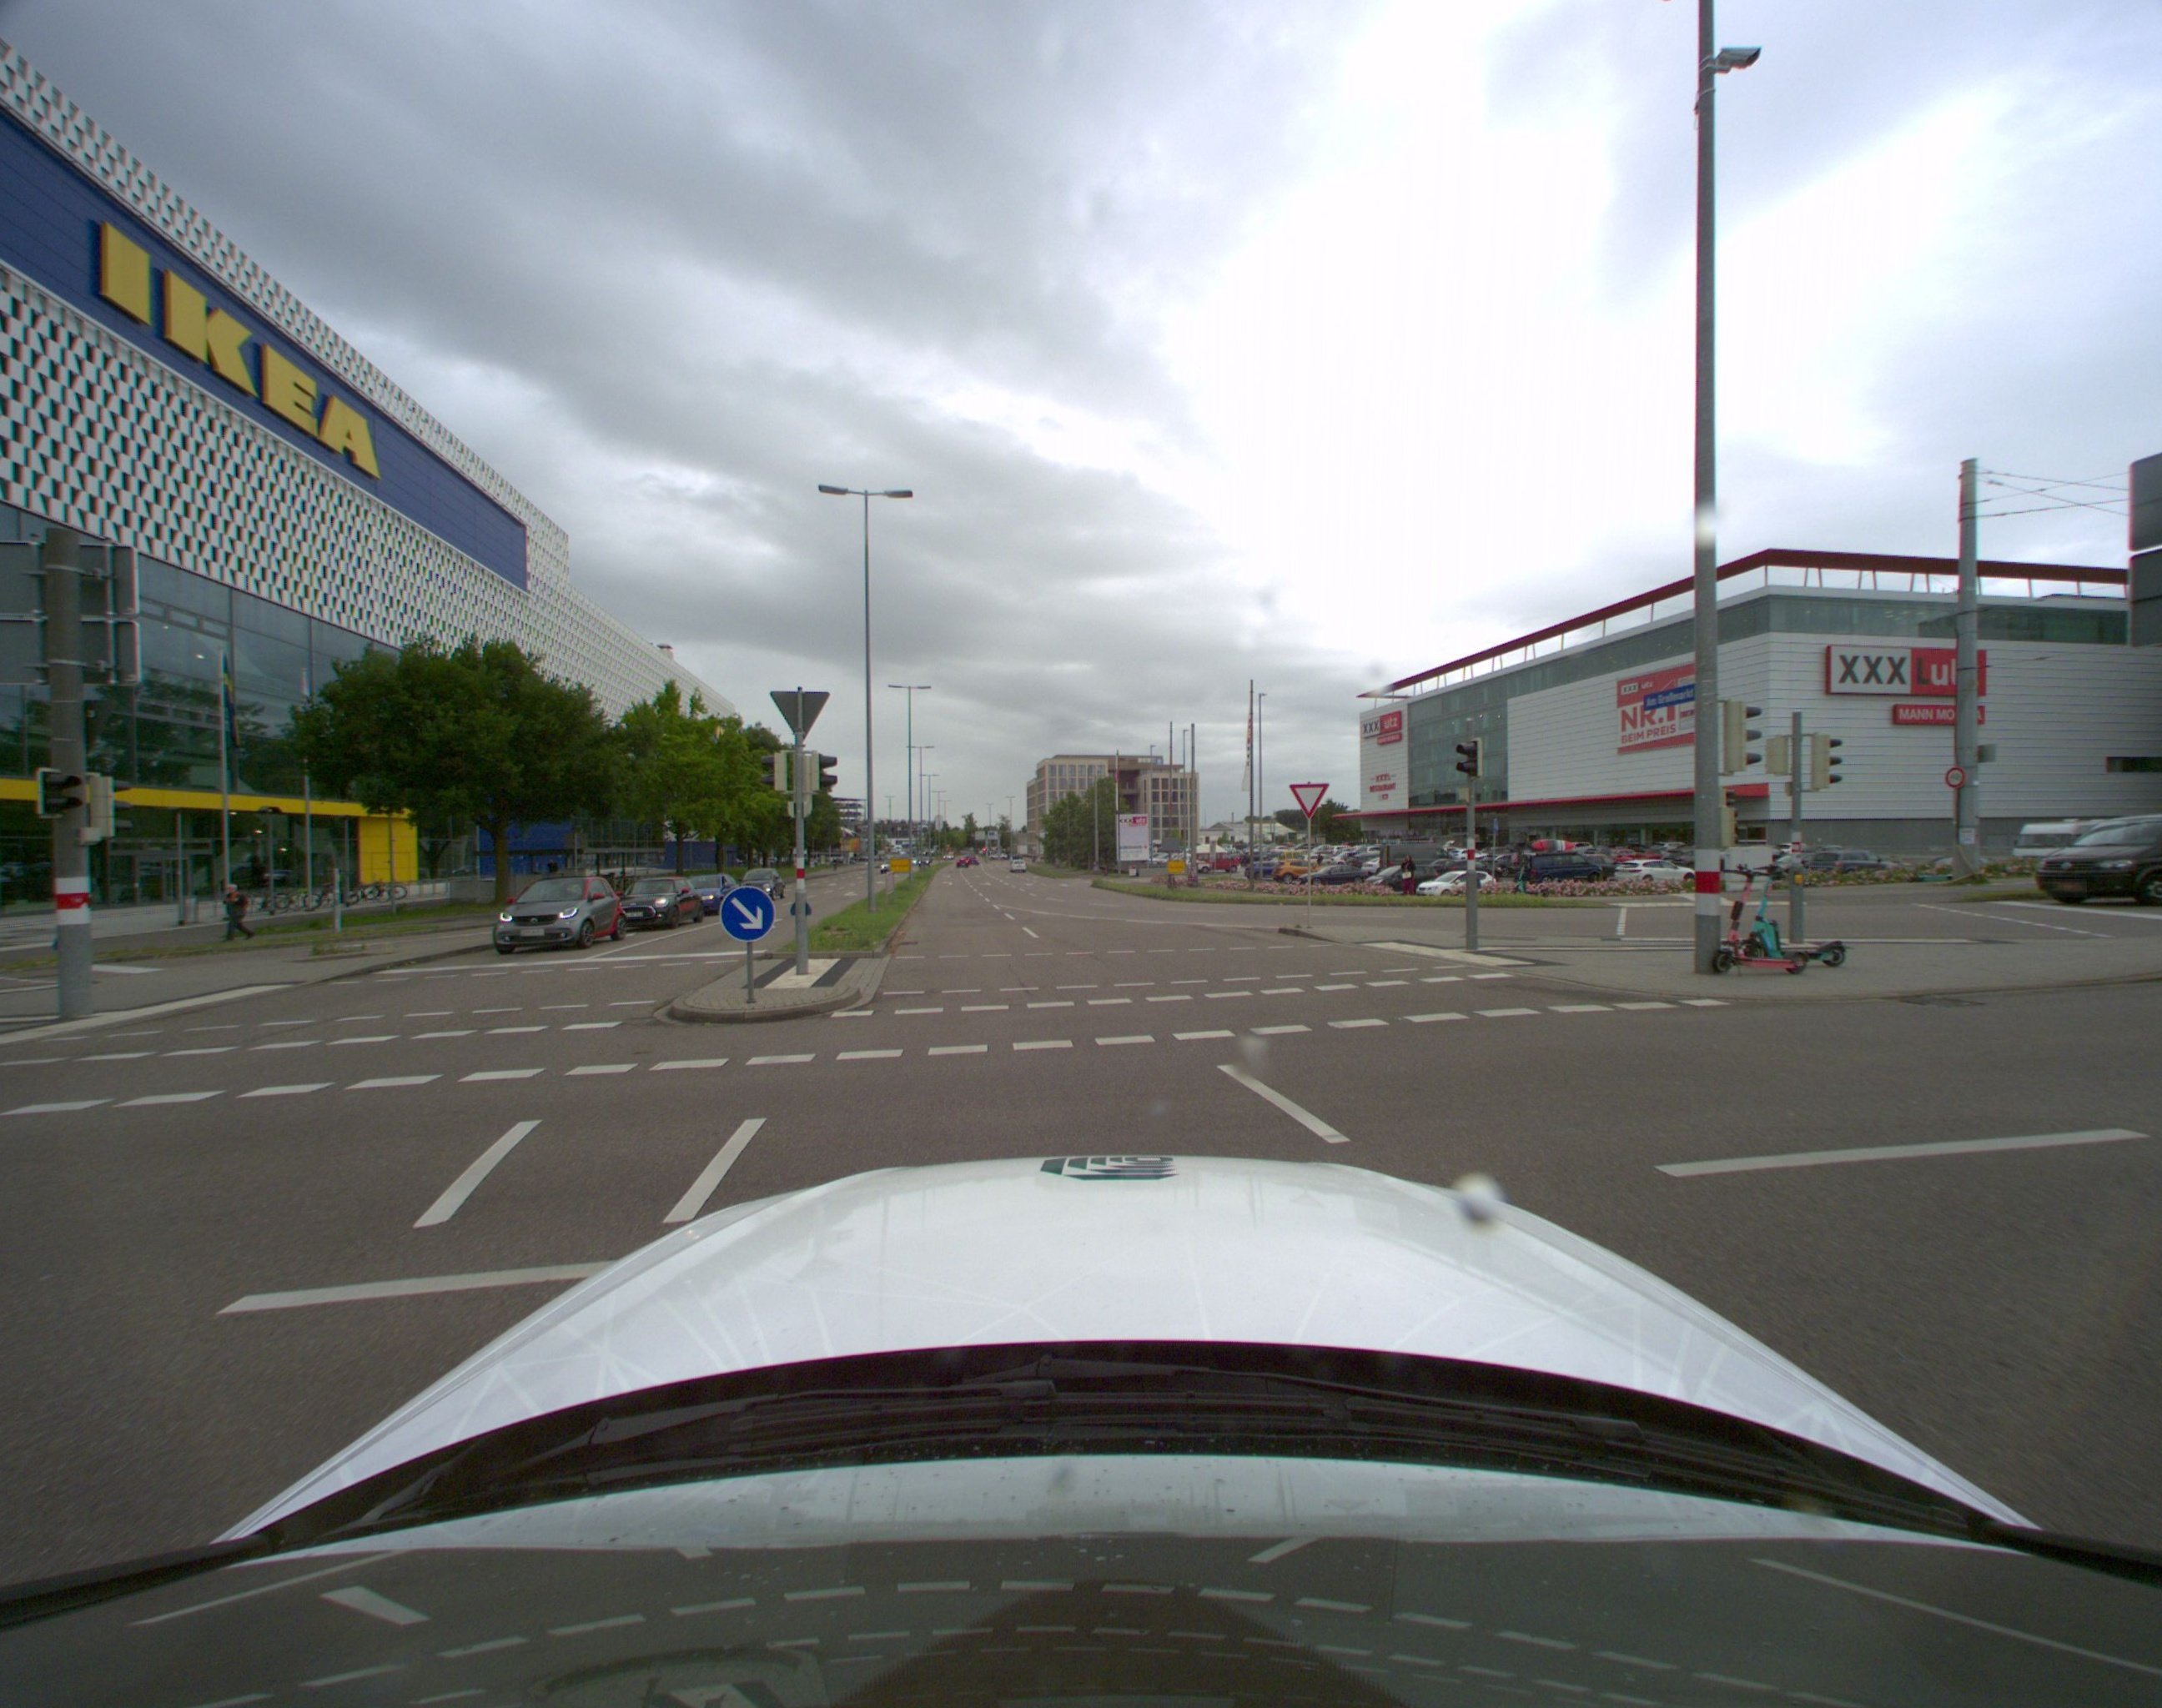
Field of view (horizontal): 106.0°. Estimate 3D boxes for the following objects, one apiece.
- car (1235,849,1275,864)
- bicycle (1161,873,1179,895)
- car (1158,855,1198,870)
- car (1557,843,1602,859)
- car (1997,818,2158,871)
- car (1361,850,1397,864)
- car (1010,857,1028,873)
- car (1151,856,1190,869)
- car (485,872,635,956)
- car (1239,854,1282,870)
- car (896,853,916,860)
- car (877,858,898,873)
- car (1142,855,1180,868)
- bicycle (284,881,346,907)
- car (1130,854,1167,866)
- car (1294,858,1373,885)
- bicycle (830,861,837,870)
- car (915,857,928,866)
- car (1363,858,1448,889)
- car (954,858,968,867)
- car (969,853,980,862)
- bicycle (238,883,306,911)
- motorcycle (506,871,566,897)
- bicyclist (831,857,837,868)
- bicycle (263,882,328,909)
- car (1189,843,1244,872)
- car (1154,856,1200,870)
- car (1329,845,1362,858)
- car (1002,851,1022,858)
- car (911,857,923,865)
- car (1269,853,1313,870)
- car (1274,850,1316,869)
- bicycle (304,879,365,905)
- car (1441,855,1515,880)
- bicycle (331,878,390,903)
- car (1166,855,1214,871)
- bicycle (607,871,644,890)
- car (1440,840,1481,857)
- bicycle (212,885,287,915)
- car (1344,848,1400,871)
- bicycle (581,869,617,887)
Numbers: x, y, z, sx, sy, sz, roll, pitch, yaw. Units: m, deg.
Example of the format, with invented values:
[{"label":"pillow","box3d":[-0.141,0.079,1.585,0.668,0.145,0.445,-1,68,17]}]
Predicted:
[{"label":"car","box3d":[19.978,0.237,93.394,4.167,1.663,1.829,0,0,-7]},{"label":"bicycle","box3d":[4.466,1.495,41.011,0.662,1.048,1.690,-1,0,-3]},{"label":"car","box3d":[10.544,0.940,89.000,4.051,1.540,1.759,-1,2,-8]},{"label":"car","box3d":[52.633,-0.350,86.001,3.793,1.553,1.825,-1,2,-10]},{"label":"car","box3d":[58.270,-0.627,47.693,6.925,2.989,2.762,-1,2,-9]},{"label":"car","box3d":[35.084,0.319,95.822,3.563,1.587,1.736,0,0,-5]},{"label":"car","box3d":[-7.597,1.357,100.085,1.992,1.751,4.171,0,2,-7]},{"label":"car","box3d":[10.040,0.915,91.250,4.054,1.350,1.829,-1,2,-10]},{"label":"car","box3d":[-11.209,1.225,17.772,1.603,1.502,3.198,-2,1,-11]},{"label":"car","box3d":[20.042,0.865,90.930,4.307,1.743,1.885,0,2,-7]},{"label":"car","box3d":[-41.396,0.603,192.235,4.442,1.711,1.989,-1,2,-16]},{"label":"car","box3d":[-22.628,1.334,95.372,1.930,1.519,4.170,-3,0,-8]},{"label":"car","box3d":[9.284,0.854,94.476,4.054,1.350,1.758,-1,2,-10]},{"label":"bicycle","box3d":[-34.328,1.791,36.520,2.016,1.157,0.591,1,0,-11]},{"label":"car","box3d":[8.122,0.749,98.031,4.153,1.350,1.804,-1,2,-10]},{"label":"car","box3d":[16.150,1.095,52.147,4.520,1.582,1.766,0,3,-7]},{"label":"bicycle","box3d":[-33.847,1.563,111.388,0.642,1.251,2.049,1,0,-9]},{"label":"car","box3d":[-26.298,1.229,134.532,1.931,1.486,4.424,-2,1,-10]},{"label":"car","box3d":[17.866,1.060,44.935,4.091,1.583,1.764,-1,2,-9]},{"label":"car","box3d":[-18.507,1.339,125.437,1.988,1.428,4.227,-1,-1,-10]},{"label":"car","box3d":[-19.515,0.642,149.033,1.834,1.514,3.989,0,0,-8]},{"label":"bicycle","box3d":[-34.093,1.815,34.325,2.016,1.157,0.591,1,0,-11]},{"label":"motorcycle","box3d":[-29.140,1.597,43.580,2.501,1.355,0.794,1,0,-22]},{"label":"bicyclist","box3d":[-33.825,1.150,111.409,0.640,1.577,0.997,1,0,-10]},{"label":"bicycle","box3d":[-34.164,1.796,35.430,2.016,1.157,0.591,1,0,-11]},{"label":"car","box3d":[12.796,0.338,77.150,4.719,2.578,2.165,-1,2,-8]},{"label":"car","box3d":[10.124,0.942,85.839,4.463,1.419,1.862,-1,2,-8]},{"label":"car","box3d":[33.506,-0.327,103.095,3.563,1.587,1.736,0,0,-5]},{"label":"car","box3d":[-17.010,0.202,200.715,4.424,1.660,1.990,-1,0,-15]},{"label":"car","box3d":[-30.273,1.304,150.117,1.865,1.454,4.155,-2,0,-9]},{"label":"car","box3d":[21.514,0.761,83.387,3.985,1.595,1.875,-1,2,-8]},{"label":"car","box3d":[21.290,0.562,81.001,3.734,1.767,1.729,-1,2,-8]},{"label":"bicycle","box3d":[-34.495,1.755,37.654,2.016,1.157,0.591,1,0,-11]},{"label":"car","box3d":[26.244,0.870,53.884,3.979,1.555,1.945,-1,0,-4]},{"label":"bicycle","box3d":[-34.685,1.743,39.206,2.024,1.157,0.589,1,0,-23]},{"label":"car","box3d":[10.879,0.897,81.566,4.371,1.461,1.956,-1,2,-8]},{"label":"bicycle","box3d":[-28.658,1.678,51.244,2.006,1.157,0.594,1,0,5]},{"label":"car","box3d":[43.529,-0.674,93.495,3.990,1.822,1.796,-1,2,-12]},{"label":"bicycle","box3d":[-33.657,1.866,33.006,2.026,1.157,0.589,1,0,-26]},{"label":"car","box3d":[23.816,0.422,66.634,3.893,1.653,1.825,-2,2,-11]},{"label":"bicycle","box3d":[-30.090,1.505,50.839,1.809,1.082,0.592,1,0,-10]}]
